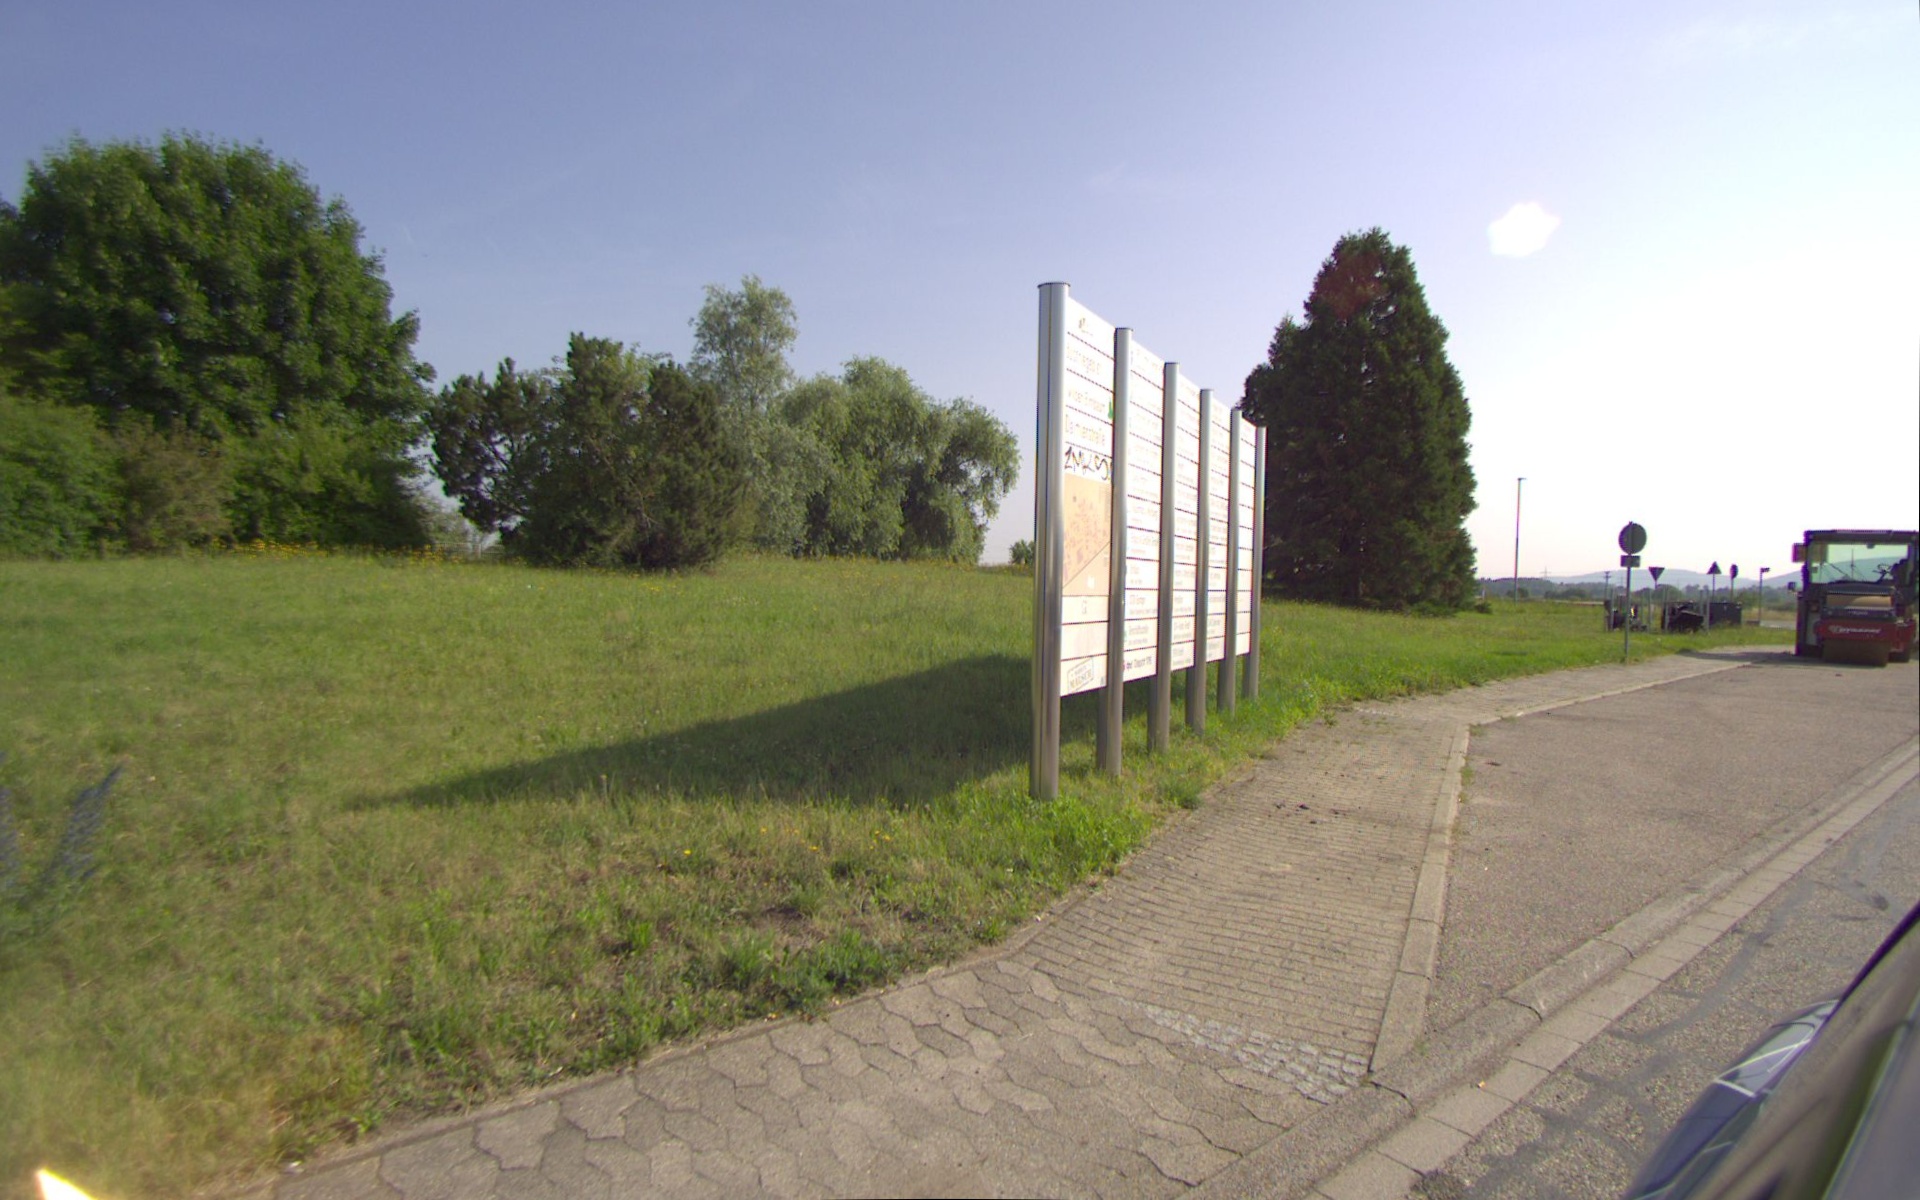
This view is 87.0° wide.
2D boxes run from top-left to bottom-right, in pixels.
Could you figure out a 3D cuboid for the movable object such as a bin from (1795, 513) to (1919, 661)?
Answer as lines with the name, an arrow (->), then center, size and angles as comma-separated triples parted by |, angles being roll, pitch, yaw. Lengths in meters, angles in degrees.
movable object such as a bin -> 21.200, -0.320, 23.467 | 2.428, 3.048, 5.666 | 4, 3, 42
